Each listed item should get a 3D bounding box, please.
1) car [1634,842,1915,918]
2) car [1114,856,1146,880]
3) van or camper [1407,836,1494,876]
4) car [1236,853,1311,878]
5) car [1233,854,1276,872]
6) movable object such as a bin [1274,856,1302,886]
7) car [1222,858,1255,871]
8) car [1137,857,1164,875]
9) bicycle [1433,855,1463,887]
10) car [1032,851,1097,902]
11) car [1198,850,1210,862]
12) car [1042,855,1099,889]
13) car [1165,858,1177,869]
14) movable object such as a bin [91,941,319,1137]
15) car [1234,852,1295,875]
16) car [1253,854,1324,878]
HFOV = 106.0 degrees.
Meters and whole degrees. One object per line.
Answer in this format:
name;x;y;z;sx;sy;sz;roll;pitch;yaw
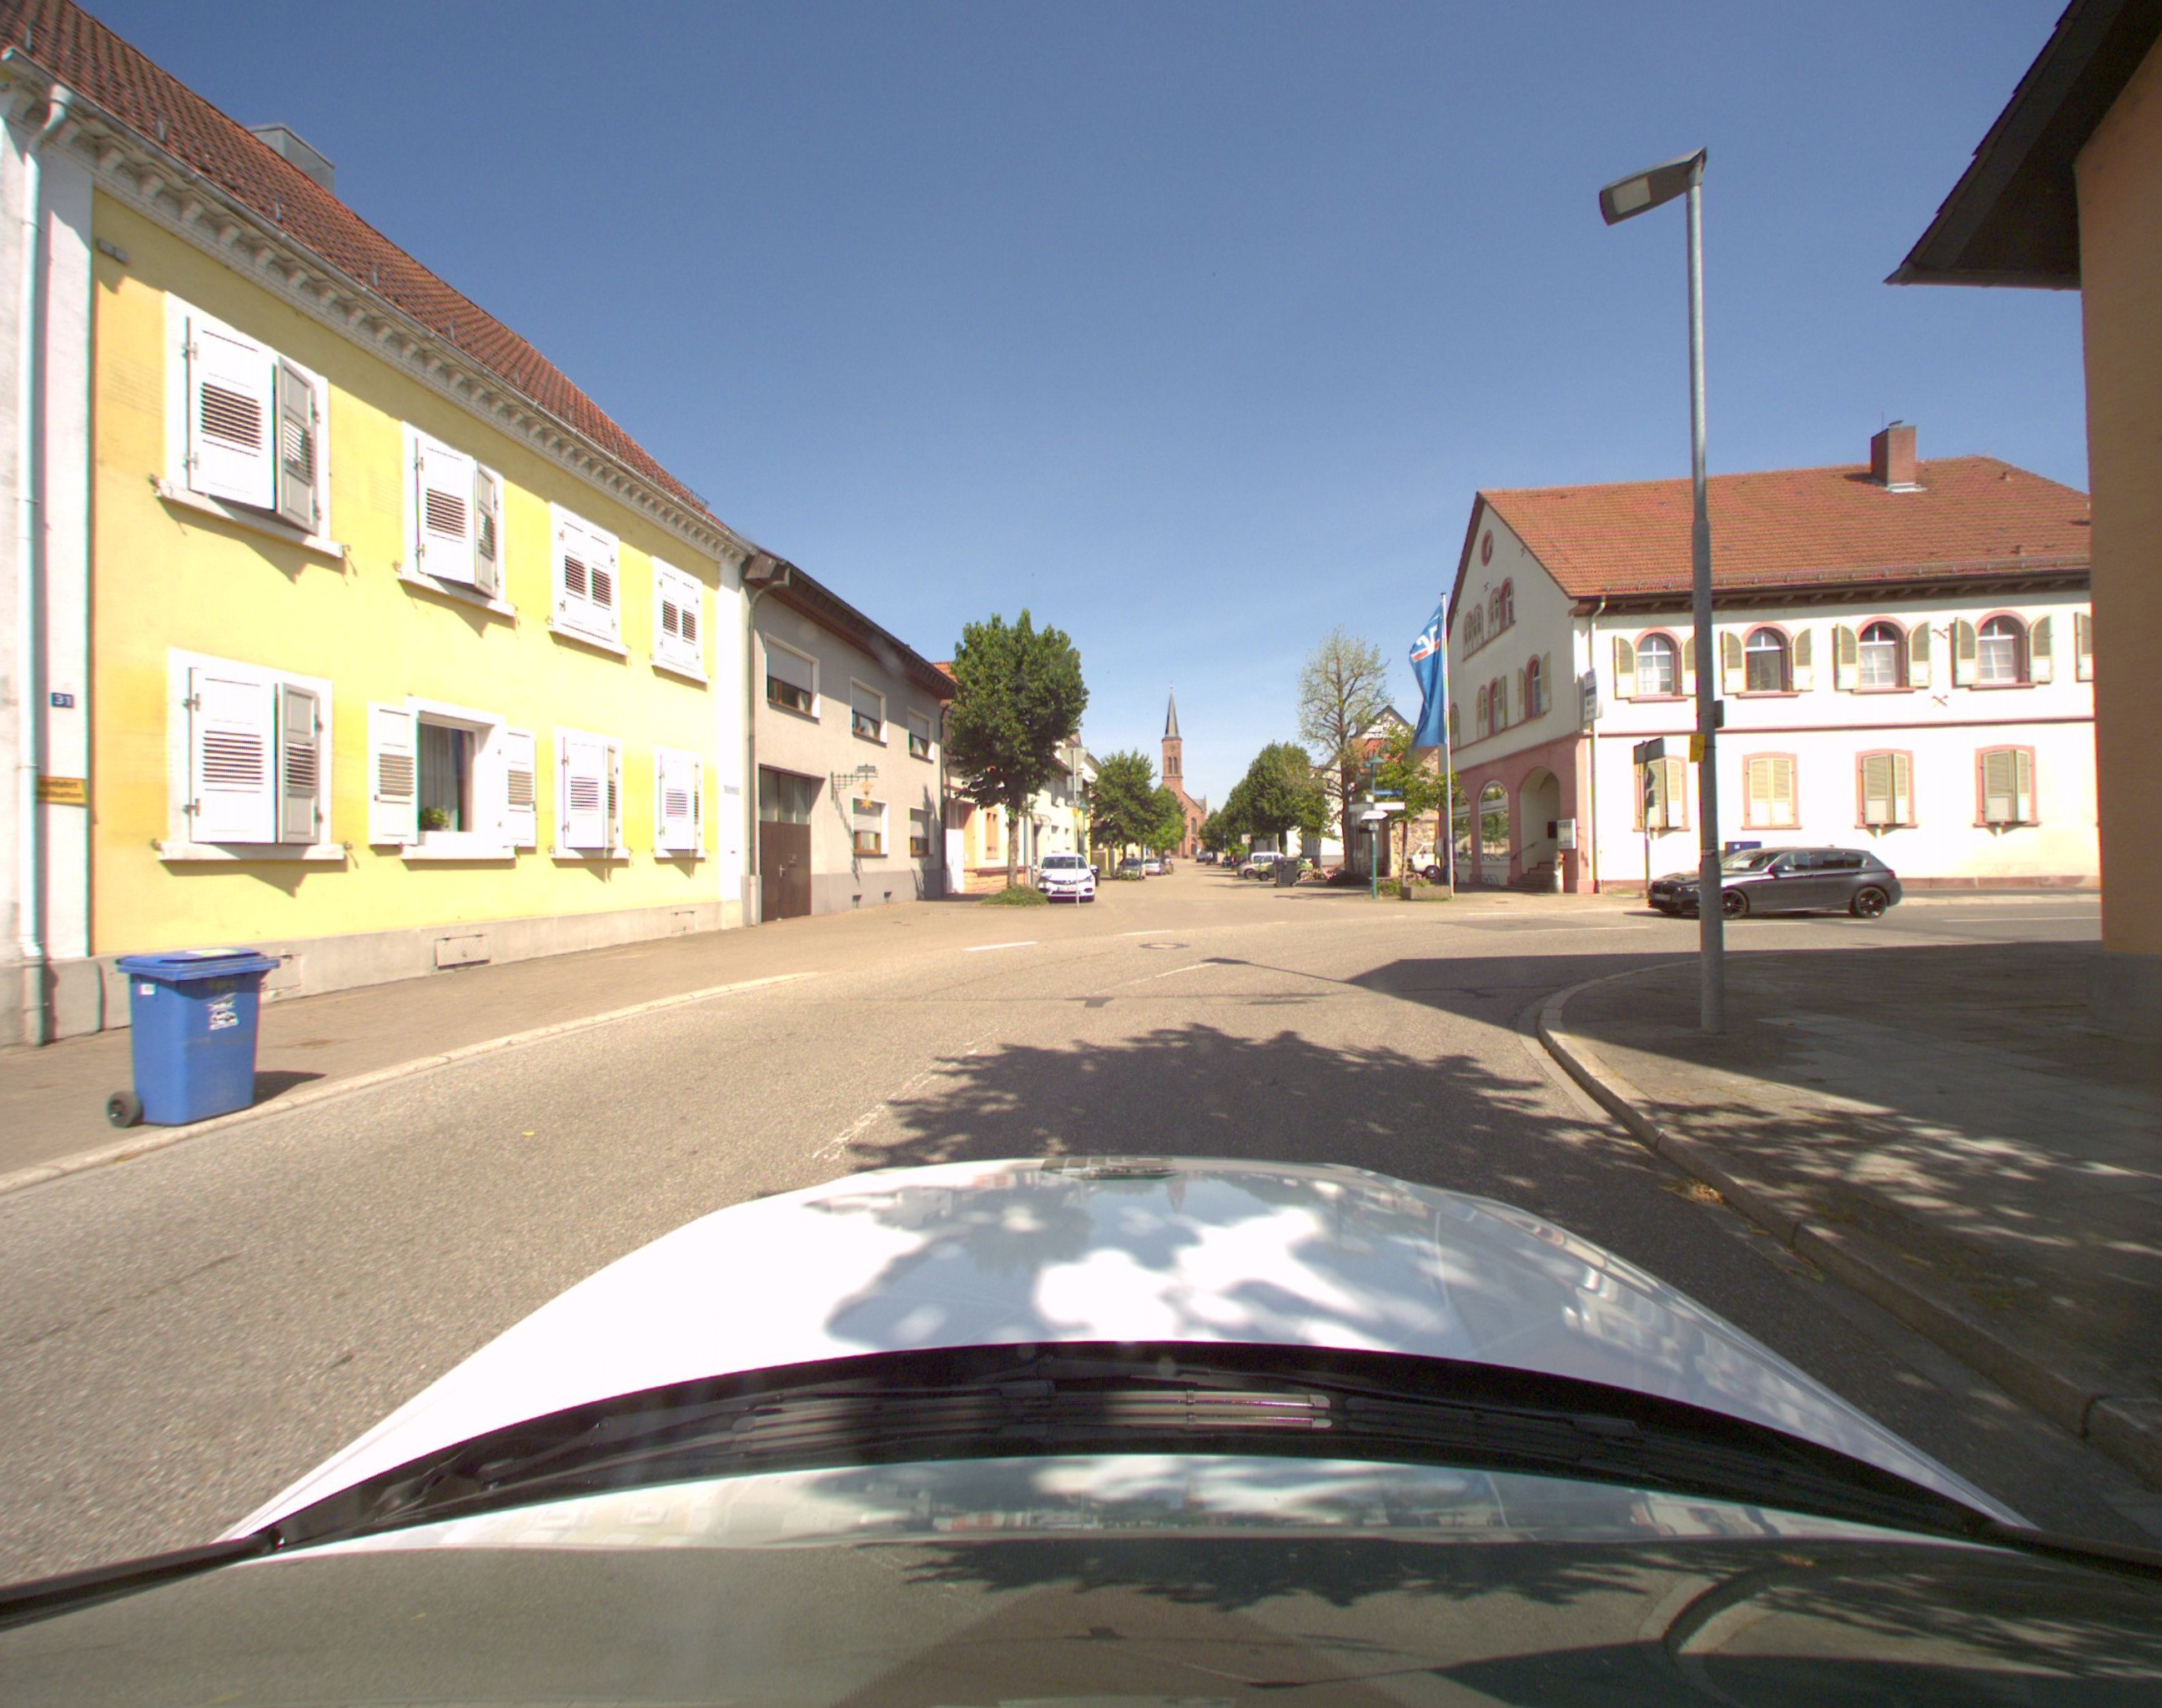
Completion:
car;13.959;0.500;16.576;4.240;1.376;1.741;-1;0;0
car;3.534;0.968;58.066;1.983;1.574;4.007;-1;0;6
van or camper;19.576;0.122;43.306;3.956;2.013;2.009;-1;0;16
car;13.064;0.777;55.479;4.777;1.623;2.004;-1;0;7
car;17.194;0.875;80.923;3.965;1.640;2.004;-1;0;7
movable object such as a bin;9.253;0.751;36.432;1.180;1.338;0.791;-1;0;11
car;20.185;1.308;104.603;3.967;1.618;2.003;-1;0;5
car;5.841;1.003;68.888;1.986;1.464;4.001;0;0;1
bicycle;13.849;0.631;30.755;0.589;1.136;1.753;-1;0;11
car;-0.616;0.653;25.648;1.845;1.440;4.507;-1;0;-4
car;23.344;0.350;154.321;2.232;2.279;4.512;1;-1;8
car;-0.390;0.814;38.362;1.974;1.440;5.221;-1;0;7
car;15.393;1.621;139.288;1.984;1.816;4.004;-1;0;4
movable object such as a bin;-5.008;1.027;4.694;0.640;0.980;0.613;-1;0;0
car;13.105;0.669;58.327;4.127;1.568;2.004;-1;0;7
car;12.426;0.704;49.042;3.902;1.344;2.004;-1;0;7
